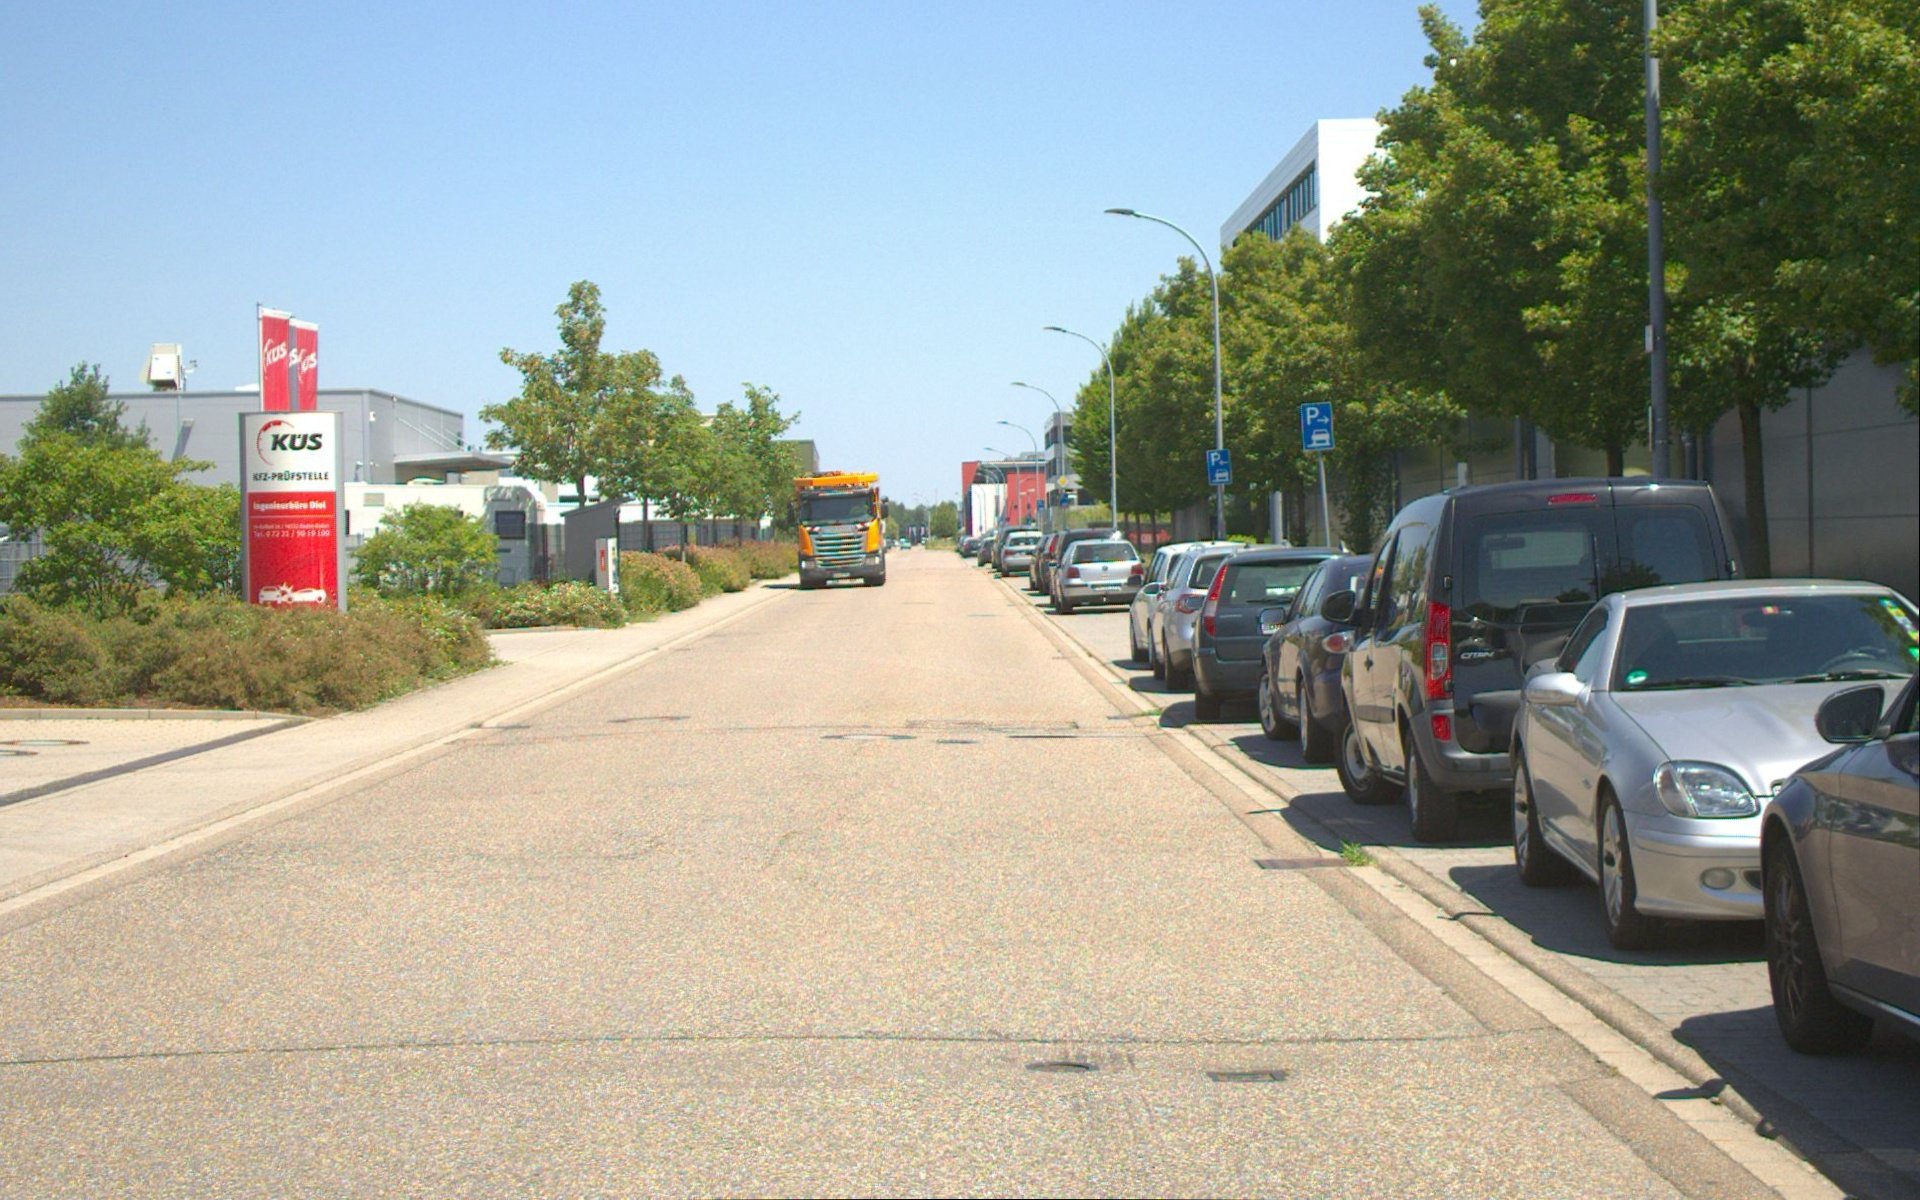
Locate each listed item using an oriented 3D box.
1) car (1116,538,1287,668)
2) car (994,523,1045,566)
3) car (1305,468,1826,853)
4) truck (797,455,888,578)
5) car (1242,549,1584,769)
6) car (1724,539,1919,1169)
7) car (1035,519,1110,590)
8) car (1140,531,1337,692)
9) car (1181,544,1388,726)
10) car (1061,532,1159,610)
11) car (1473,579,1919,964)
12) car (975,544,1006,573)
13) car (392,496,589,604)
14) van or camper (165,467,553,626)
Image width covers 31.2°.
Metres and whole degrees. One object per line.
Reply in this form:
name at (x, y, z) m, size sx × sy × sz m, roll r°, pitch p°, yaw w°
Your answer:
car at (2.954, 0.003, 42.703) m, size 1.636 × 1.464 × 3.746 m, roll -2°, pitch 1°, yaw -3°
car at (1.992, -1.866, 115.050) m, size 1.585 × 1.405 × 3.500 m, roll -1°, pitch 1°, yaw -1°
car at (3.155, 0.270, 18.838) m, size 1.993 × 1.819 × 4.354 m, roll -1°, pitch 1°, yaw -1°
truck at (-3.519, -2.554, 104.832) m, size 2.448 × 3.501 × 8.273 m, roll -2°, pitch 1°, yaw 0°
car at (3.219, 0.372, 25.338) m, size 1.850 × 1.426 × 4.713 m, roll -1°, pitch 1°, yaw 0°
car at (3.206, 0.601, 8.242) m, size 1.828 × 1.488 × 4.478 m, roll -2°, pitch 1°, yaw 2°
car at (2.796, -1.154, 86.030) m, size 1.722 × 1.688 × 3.984 m, roll -1°, pitch 1°, yaw 0°
car at (2.943, 0.073, 37.116) m, size 1.748 × 1.556 × 4.506 m, roll -2°, pitch 1°, yaw 0°
car at (2.922, 0.270, 31.355) m, size 1.709 × 1.499 × 4.705 m, roll -1°, pitch 1°, yaw 5°
car at (2.948, -0.589, 68.075) m, size 1.718 × 1.445 × 3.646 m, roll -2°, pitch 1°, yaw 0°
car at (3.188, 0.575, 13.793) m, size 1.711 × 1.283 × 4.115 m, roll -1°, pitch 0°, yaw 1°
car at (1.588, -2.175, 179.476) m, size 1.495 × 1.405 × 3.500 m, roll -1°, pitch 1°, yaw -1°
car at (-11.751, -1.260, 86.337) m, size 4.714 × 2.577 × 2.000 m, roll -1°, pitch 1°, yaw -4°
van or camper at (-12.155, -1.106, 70.018) m, size 7.384 × 3.027 × 2.790 m, roll -1°, pitch 1°, yaw -1°
